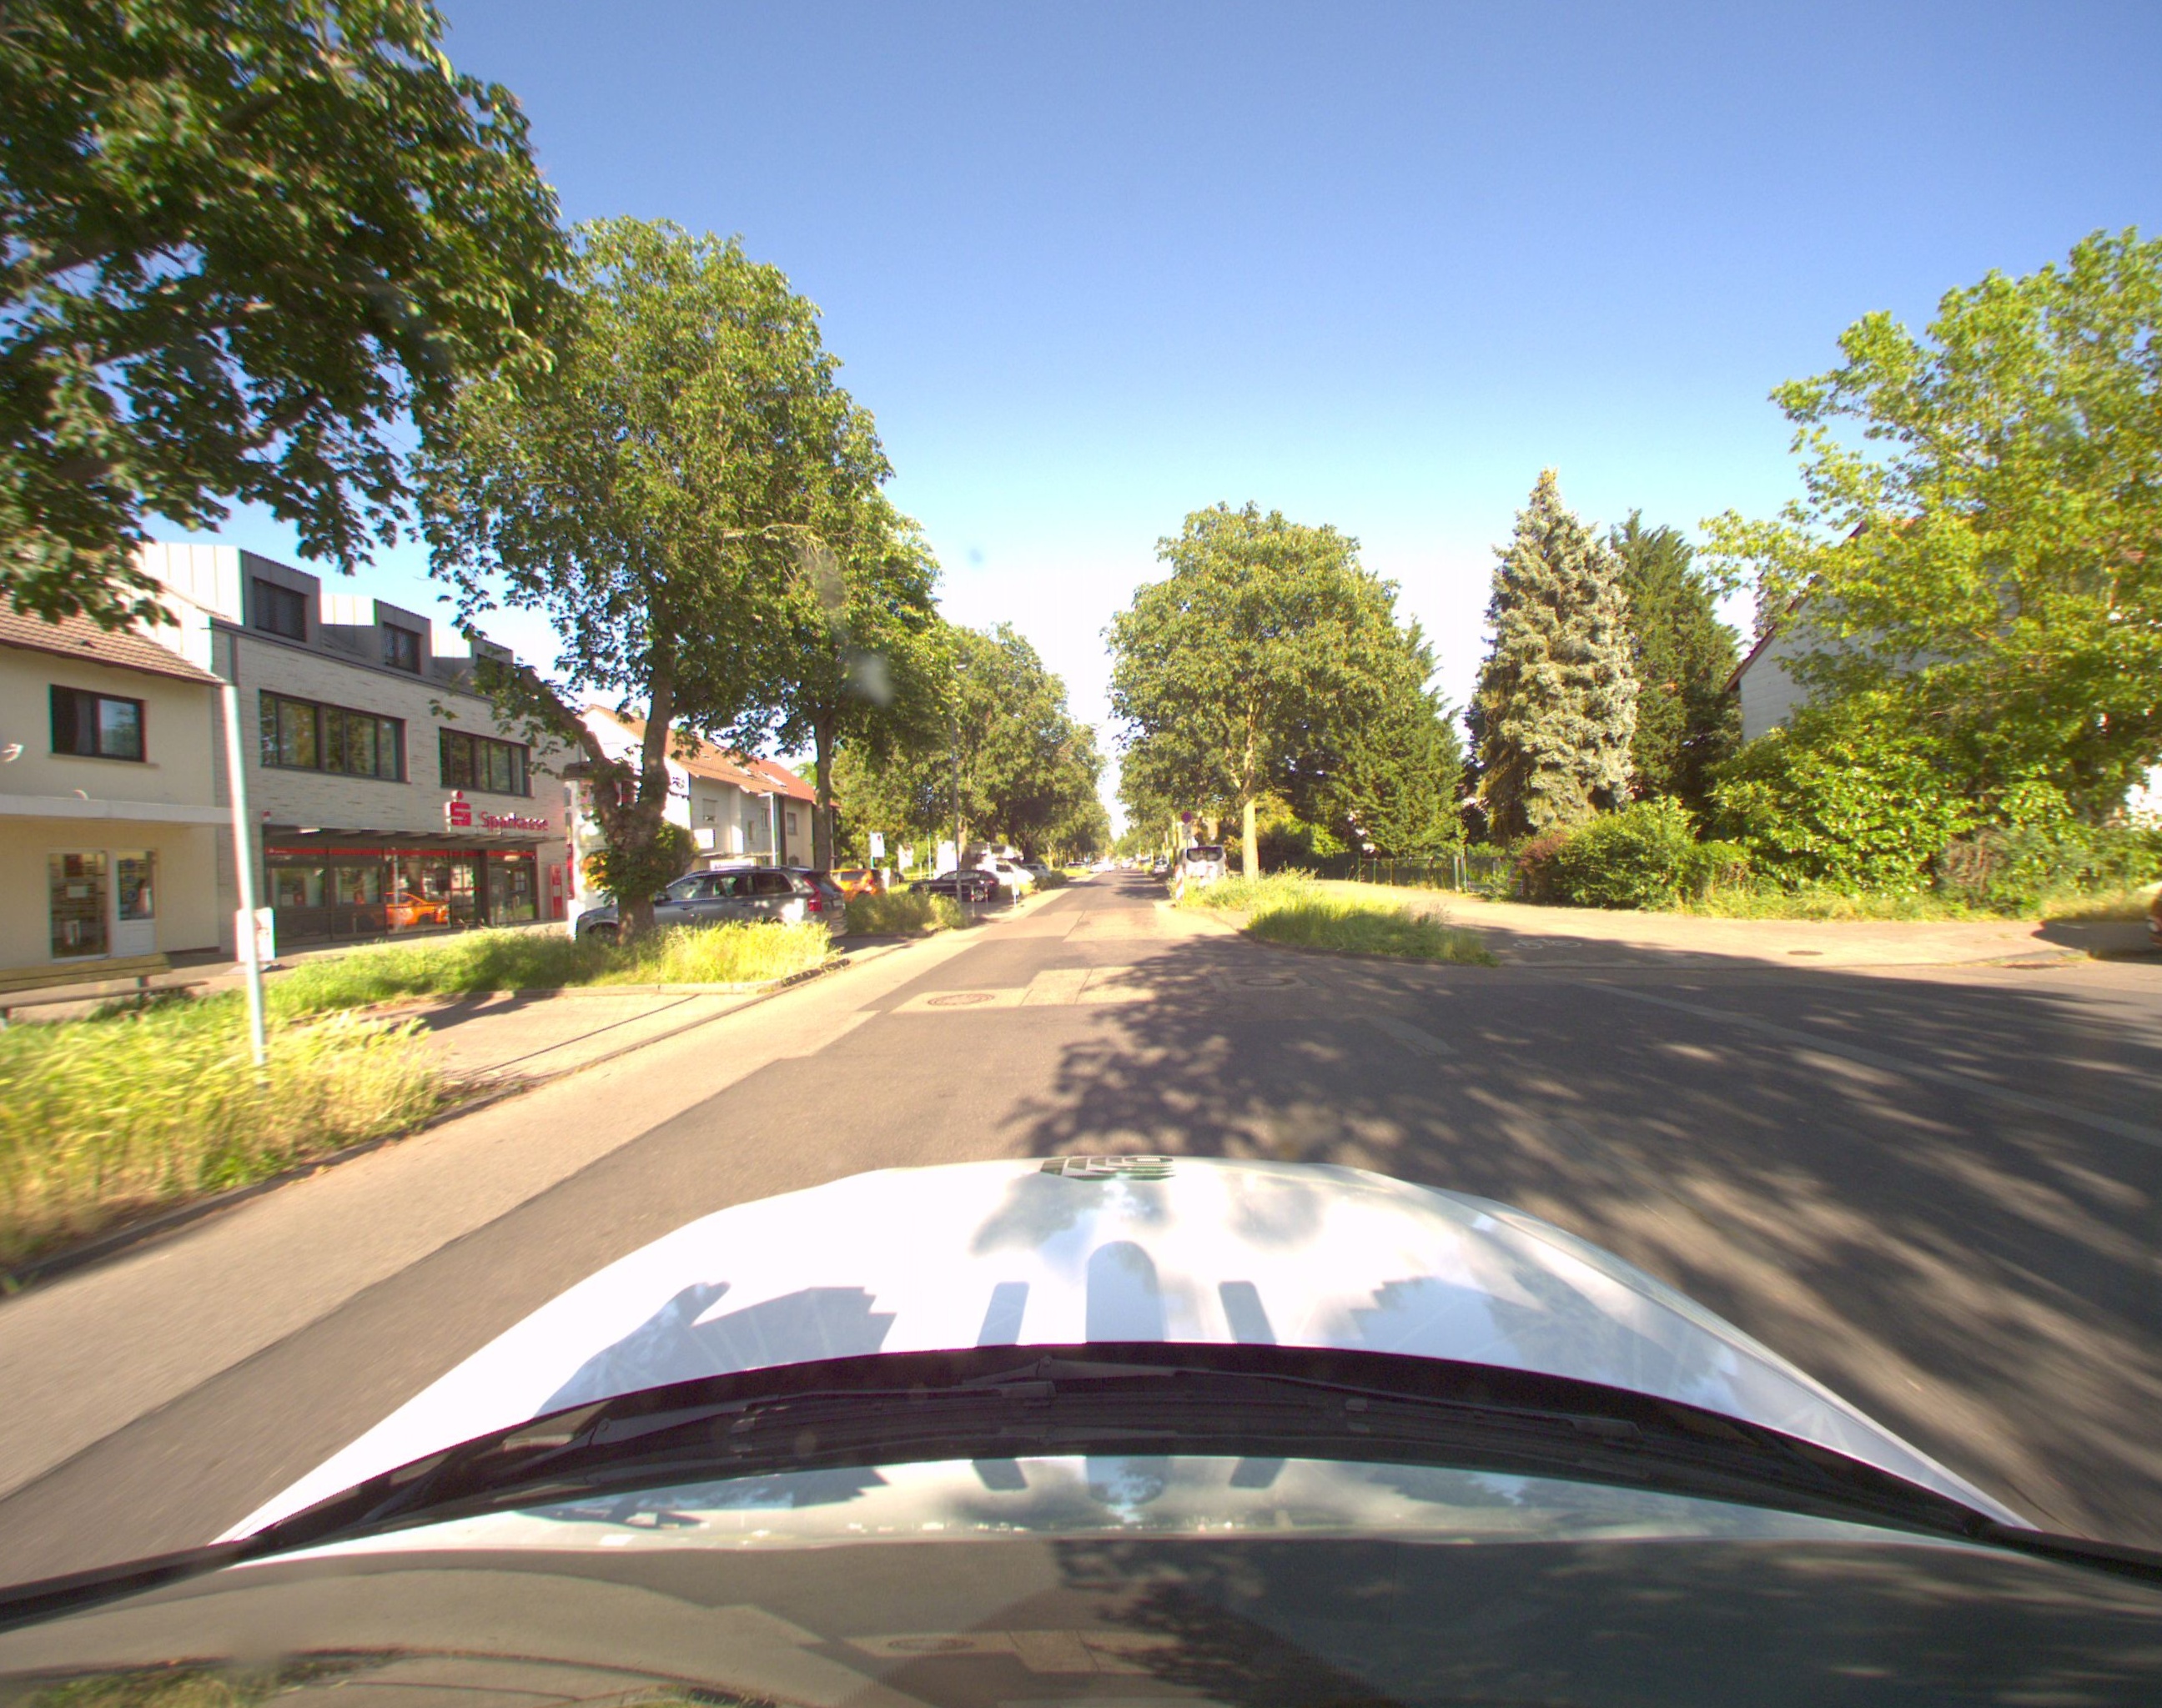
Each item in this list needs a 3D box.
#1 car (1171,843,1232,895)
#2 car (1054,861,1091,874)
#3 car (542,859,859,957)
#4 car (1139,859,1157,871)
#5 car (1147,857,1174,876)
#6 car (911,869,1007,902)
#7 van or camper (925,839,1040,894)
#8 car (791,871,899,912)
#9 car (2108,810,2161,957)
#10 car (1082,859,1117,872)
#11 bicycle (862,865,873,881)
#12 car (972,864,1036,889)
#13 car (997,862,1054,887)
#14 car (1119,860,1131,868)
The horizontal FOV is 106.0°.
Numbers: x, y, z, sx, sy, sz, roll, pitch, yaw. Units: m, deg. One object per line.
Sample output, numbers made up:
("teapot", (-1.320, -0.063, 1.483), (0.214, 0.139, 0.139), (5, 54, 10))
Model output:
("car", (4.975, 0.624, 34.293), (1.986, 2.014, 5.198), (0, -1, 2))
("car", (-1.064, 1.722, 106.387), (4.650, 1.503, 2.002), (-2, -1, 4))
("car", (-7.080, 0.992, 15.608), (5.046, 1.728, 1.999), (1, -1, -1))
("car", (9.253, 1.568, 112.571), (1.989, 1.622, 4.376), (1, -1, -3))
("car", (7.077, 1.140, 71.778), (1.981, 1.510, 4.011), (-4, -2, 10))
("car", (-5.471, 1.399, 36.636), (3.967, 1.450, 1.642), (-1, -1, 6))
("van or camper", (-5.194, 0.678, 43.468), (5.749, 2.805, 2.002), (0, -1, 4))
("car", (-9.890, 1.551, 34.334), (3.977, 1.542, 1.868), (-1, -1, -3))
("car", (12.860, 0.241, 7.999), (3.530, 1.510, 1.639), (-2, 0, -1))
("car", (2.436, 1.525, 108.021), (4.173, 1.455, 2.011), (-3, -1, 23))
("bicycle", (-17.158, 1.497, 65.590), (0.705, 1.176, 4.037), (-3, 0, -13))
("car", (-5.079, 1.500, 54.177), (3.972, 1.589, 2.001), (0, -1, 1))
("car", (-4.070, 1.478, 60.168), (3.972, 1.661, 1.967), (-2, -1, 1))
("car", (8.140, 1.822, 151.455), (1.988, 1.508, 3.656), (1, -1, -2))
